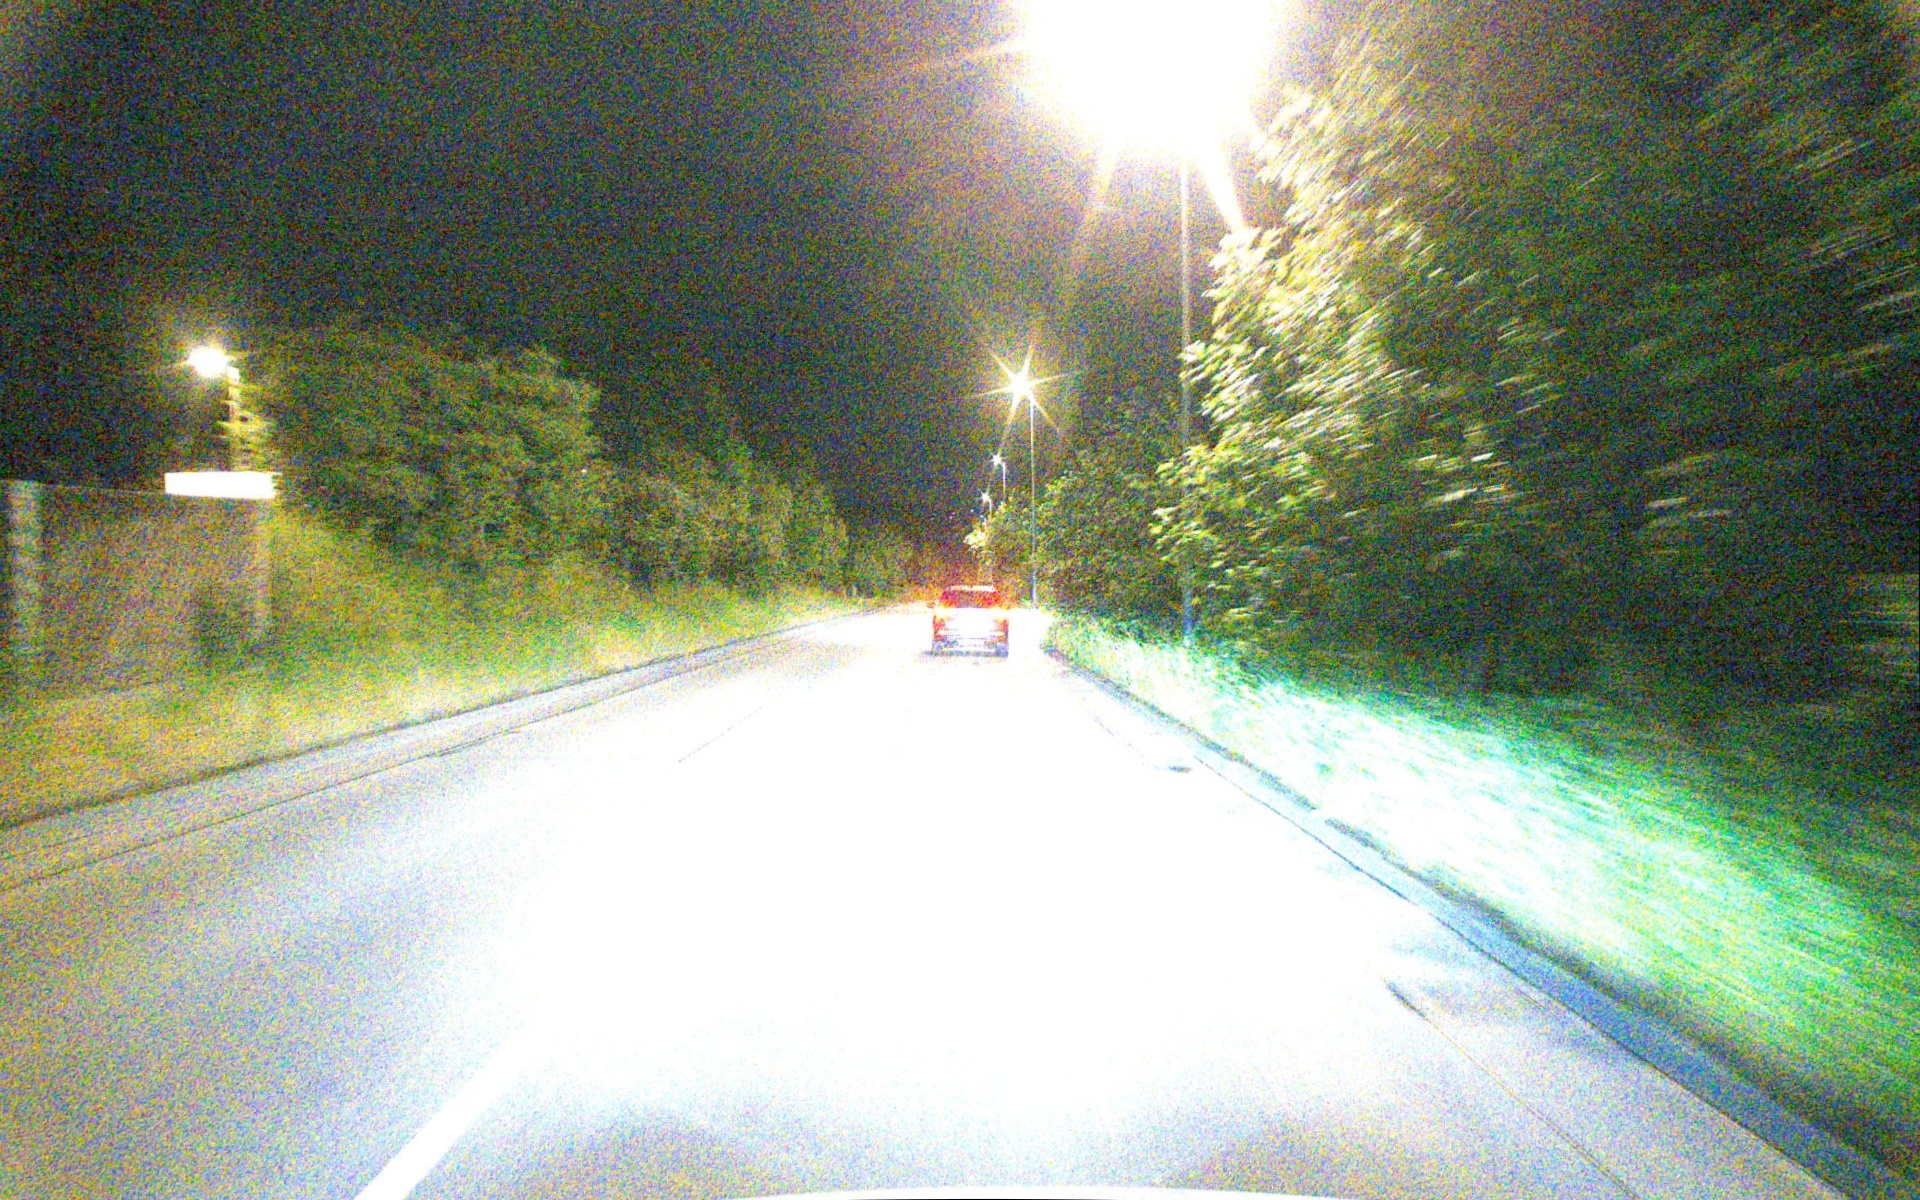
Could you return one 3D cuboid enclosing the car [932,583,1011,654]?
[{"bbox_3d":[0.223,0.394,39.048,1.778,1.601,3.942,0,0,-1],"label":"car"}]
